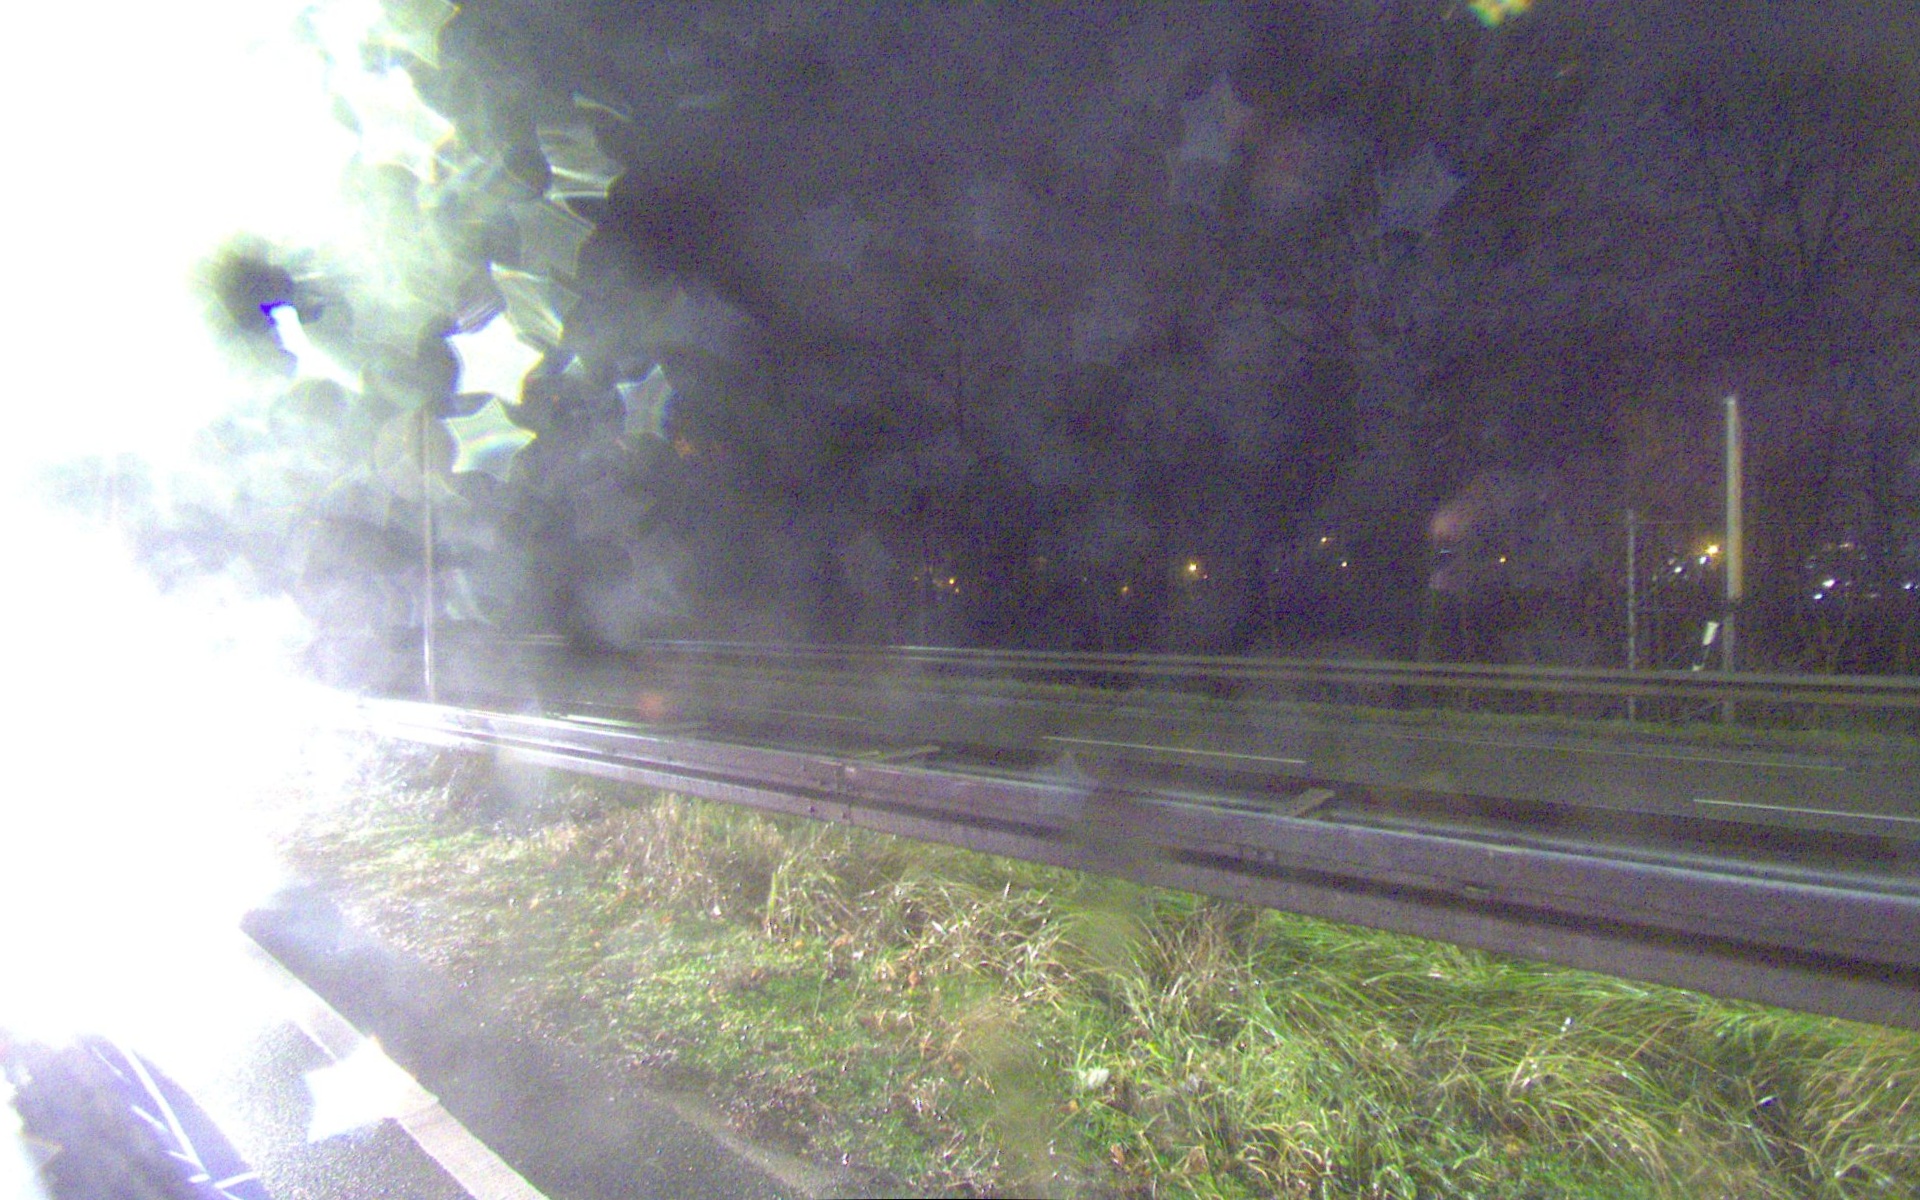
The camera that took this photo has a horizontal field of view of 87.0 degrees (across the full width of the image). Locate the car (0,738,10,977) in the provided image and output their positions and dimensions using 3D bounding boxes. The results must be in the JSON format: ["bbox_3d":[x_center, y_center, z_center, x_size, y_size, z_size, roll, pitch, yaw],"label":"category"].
[{"bbox_3d":[-5.600,0.838,4.625,3.388,1.435,1.478,-1,1,41],"label":"car"}]
